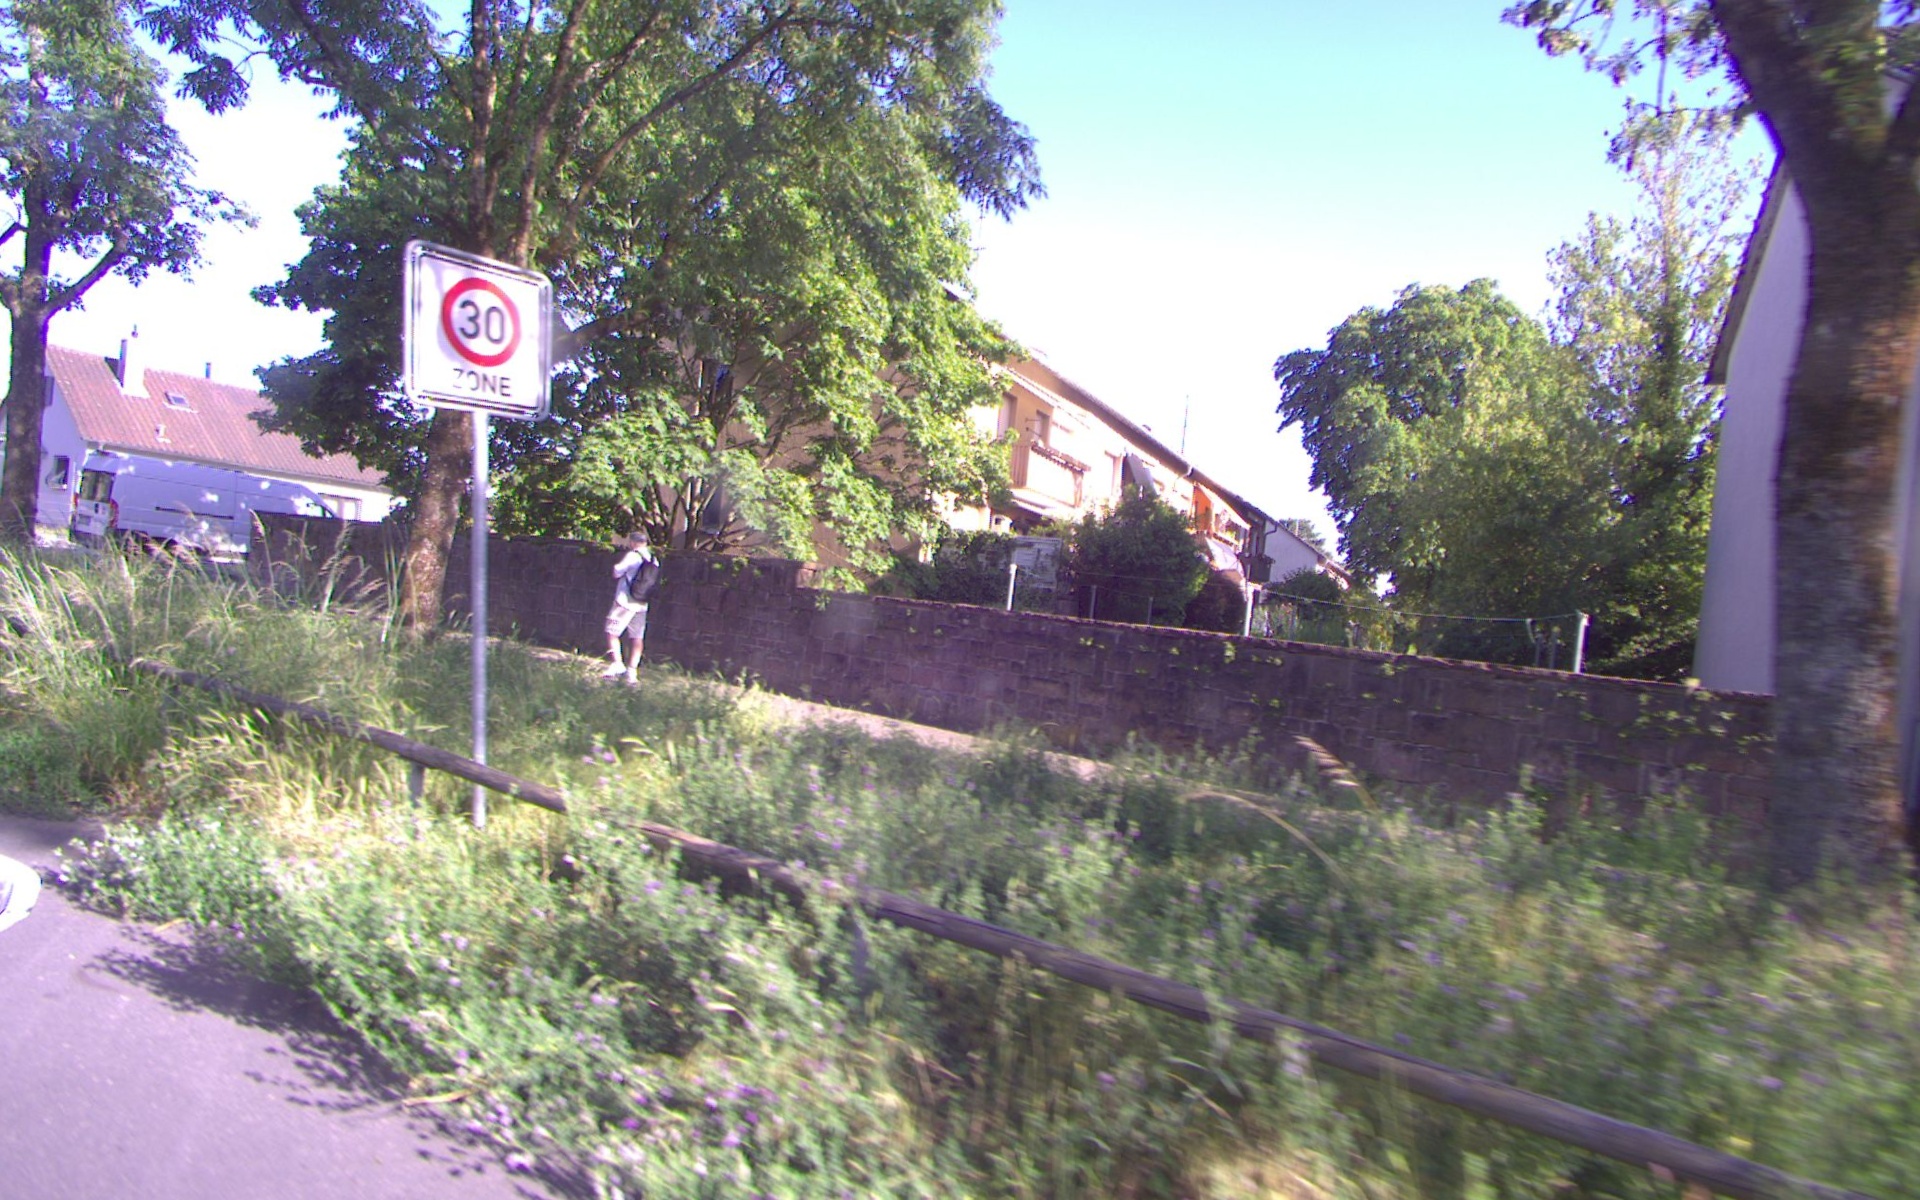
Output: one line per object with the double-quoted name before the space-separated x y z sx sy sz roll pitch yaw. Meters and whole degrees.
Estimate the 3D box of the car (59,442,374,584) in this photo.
"car" -17.837 -1.985 24.524 2.227 2.571 5.603 7 0 29

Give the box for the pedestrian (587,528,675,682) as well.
"pedestrian" -3.909 0.055 11.955 0.602 1.729 0.637 8 4 30
